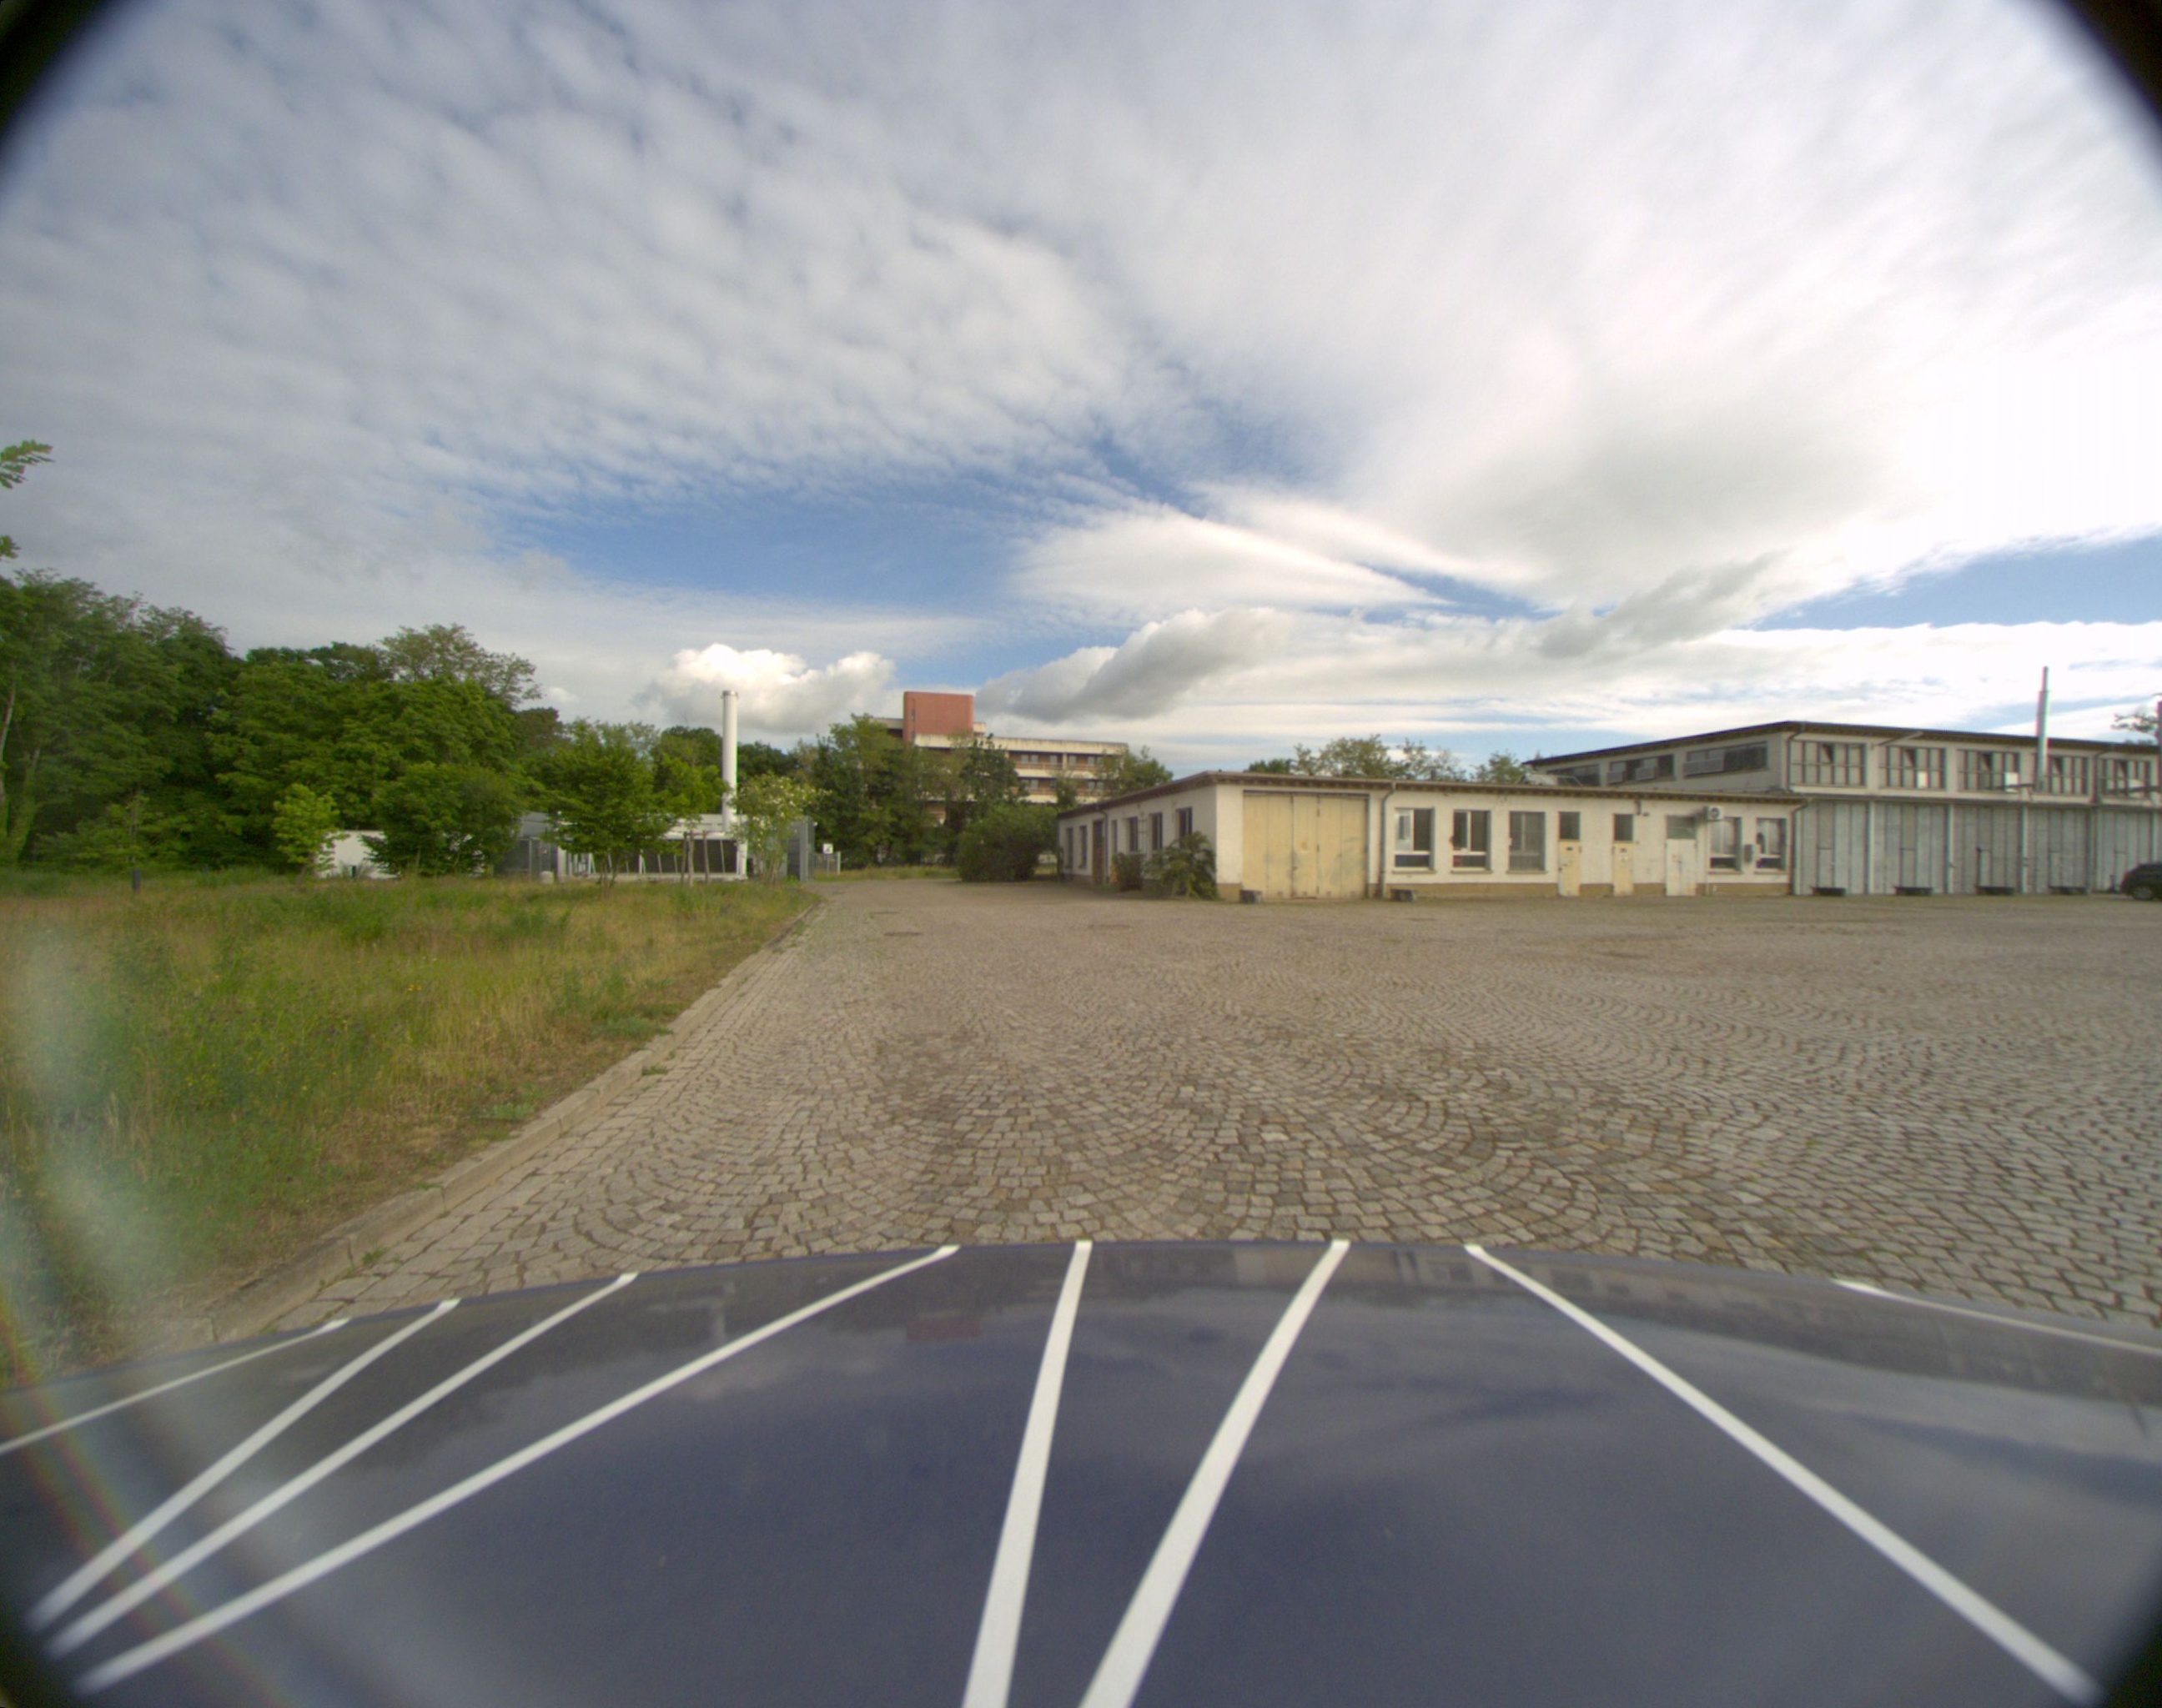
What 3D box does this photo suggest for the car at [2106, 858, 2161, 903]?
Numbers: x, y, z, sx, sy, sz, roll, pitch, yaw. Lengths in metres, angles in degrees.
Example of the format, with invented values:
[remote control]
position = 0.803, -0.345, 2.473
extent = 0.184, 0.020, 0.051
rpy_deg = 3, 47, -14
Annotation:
[car]
position = 44.451, 1.102, 29.894
extent = 2.001, 1.746, 4.430
rpy_deg = 3, -1, -15
